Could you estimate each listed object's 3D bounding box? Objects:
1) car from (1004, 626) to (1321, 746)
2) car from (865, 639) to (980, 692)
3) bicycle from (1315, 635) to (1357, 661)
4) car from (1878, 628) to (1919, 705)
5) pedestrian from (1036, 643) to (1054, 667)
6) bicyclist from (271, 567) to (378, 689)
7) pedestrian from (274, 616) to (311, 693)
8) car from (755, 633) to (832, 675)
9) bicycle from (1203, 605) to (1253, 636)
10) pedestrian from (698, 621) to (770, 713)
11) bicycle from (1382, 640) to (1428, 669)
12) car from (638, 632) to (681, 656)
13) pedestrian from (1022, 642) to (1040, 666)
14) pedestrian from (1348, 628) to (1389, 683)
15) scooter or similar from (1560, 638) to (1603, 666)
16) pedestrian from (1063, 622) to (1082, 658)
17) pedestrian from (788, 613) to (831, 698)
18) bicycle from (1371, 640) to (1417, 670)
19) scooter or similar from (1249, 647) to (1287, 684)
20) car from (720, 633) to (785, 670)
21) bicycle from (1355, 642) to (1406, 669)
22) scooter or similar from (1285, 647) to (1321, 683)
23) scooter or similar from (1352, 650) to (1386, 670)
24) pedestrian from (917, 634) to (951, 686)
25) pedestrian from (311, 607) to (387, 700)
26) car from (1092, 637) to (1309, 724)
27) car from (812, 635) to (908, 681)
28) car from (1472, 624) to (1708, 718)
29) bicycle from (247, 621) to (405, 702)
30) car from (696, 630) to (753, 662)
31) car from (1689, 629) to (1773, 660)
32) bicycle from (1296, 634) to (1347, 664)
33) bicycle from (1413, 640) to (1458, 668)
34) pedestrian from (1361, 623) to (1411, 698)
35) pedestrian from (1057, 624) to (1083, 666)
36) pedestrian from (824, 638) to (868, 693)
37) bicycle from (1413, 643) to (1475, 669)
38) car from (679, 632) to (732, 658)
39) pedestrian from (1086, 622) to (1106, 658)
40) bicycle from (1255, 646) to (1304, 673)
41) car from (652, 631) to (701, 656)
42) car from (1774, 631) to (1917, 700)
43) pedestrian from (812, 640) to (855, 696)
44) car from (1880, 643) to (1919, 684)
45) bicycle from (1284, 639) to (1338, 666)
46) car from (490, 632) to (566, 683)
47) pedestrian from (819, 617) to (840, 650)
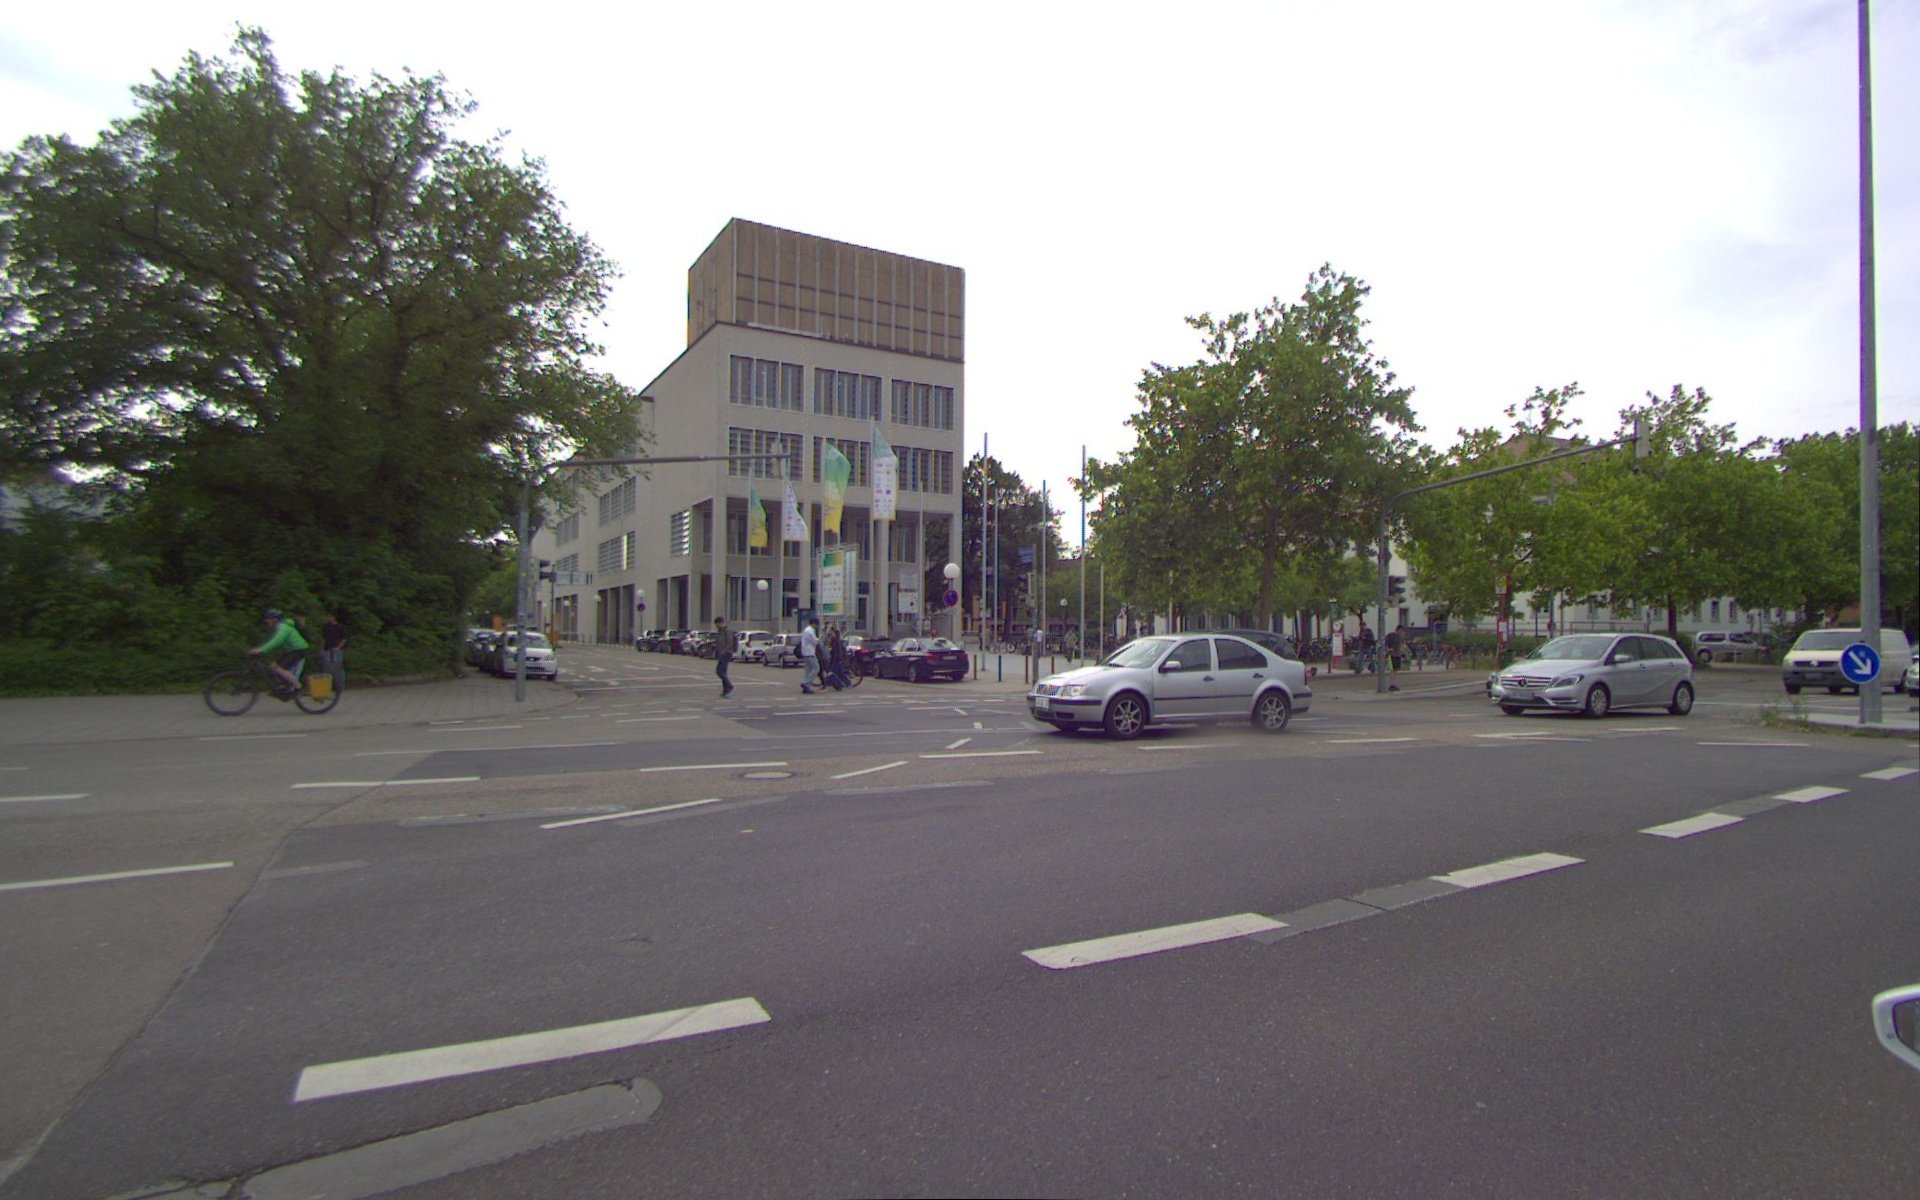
[{"bbox_3d":[2.964,1.186,14.744,4.214,1.549,1.989,1,-2,-24],"label":"car"},{"bbox_3d":[-1.318,2.123,33.416,1.979,1.491,4.117,2,0,-33],"label":"car"},{"bbox_3d":[23.584,2.988,63.091,0.906,1.579,3.082,1,-2,-12],"label":"bicycle"},{"bbox_3d":[27.198,1.805,27.490,3.953,2.040,1.984,2,-3,-30],"label":"car"},{"bbox_3d":[5.044,3.261,59.683,0.784,1.437,0.893,1,-2,-23],"label":"pedestrian"},{"bbox_3d":[-11.203,0.477,17.717,1.166,2.040,1.275,1,0,41],"label":"bicyclist"},{"bbox_3d":[-14.524,1.174,21.845,0.597,1.627,0.498,2,-1,-39],"label":"pedestrian"},{"bbox_3d":[-7.278,2.315,43.562,1.977,1.601,3.967,2,0,-31],"label":"car"},{"bbox_3d":[13.889,1.097,52.192,0.773,1.579,2.641,2,-2,-35],"label":"bicycle"},{"bbox_3d":[-5.272,1.539,23.462,1.166,2.040,1.136,1,0,41],"label":"pedestrian"},{"bbox_3d":[25.109,3.063,56.756,0.714,1.615,2.385,2,-2,-33],"label":"bicycle"},{"bbox_3d":[-19.313,2.792,64.451,1.936,1.475,3.655,2,-3,-29],"label":"car"},{"bbox_3d":[4.287,3.248,60.531,0.784,1.437,0.893,1,-2,-23],"label":"pedestrian"},{"bbox_3d":[13.817,1.869,33.995,0.926,1.827,0.890,2,-3,-33],"label":"pedestrian"},{"bbox_3d":[27.961,2.326,45.211,0.559,1.260,1.567,1,-2,-29],"label":"scooter or similar"},{"bbox_3d":[6.383,2.283,57.120,0.970,2.040,0.795,0,-2,-1],"label":"pedestrian"},{"bbox_3d":[-3.746,1.366,25.040,0.844,2.086,0.662,1,-1,-32],"label":"pedestrian"},{"bbox_3d":[24.191,3.035,56.041,0.714,1.615,2.385,2,-2,-33],"label":"bicycle"},{"bbox_3d":[9.834,2.086,32.062,1.304,1.155,0.358,2,-2,-30],"label":"scooter or similar"},{"bbox_3d":[-9.962,2.417,47.980,1.833,1.706,3.967,2,-2,-31],"label":"car"},{"bbox_3d":[18.991,2.506,45.429,2.007,1.168,0.717,-2,-3,43],"label":"bicycle"},{"bbox_3d":[11.228,2.126,32.852,1.304,1.155,0.358,2,-2,-30],"label":"scooter or similar"},{"bbox_3d":[15.000,2.194,36.829,1.273,0.703,0.405,2,0,-28],"label":"scooter or similar"},{"bbox_3d":[-1.045,2.398,40.403,1.005,2.040,0.998,1,-2,-30],"label":"pedestrian"},{"bbox_3d":[-13.982,1.200,22.993,1.022,2.040,1.098,1,0,29],"label":"pedestrian"},{"bbox_3d":[4.520,1.460,18.874,3.649,1.483,1.846,1,-2,-26],"label":"car"},{"bbox_3d":[-3.797,2.123,37.503,1.979,1.491,3.963,2,0,-33],"label":"car"},{"bbox_3d":[12.021,1.291,19.147,4.201,1.604,1.950,1,-3,-28],"label":"car"},{"bbox_3d":[-11.279,1.062,17.945,0.598,1.351,2.300,1,0,40],"label":"bicycle"},{"bbox_3d":[-12.297,2.381,52.207,1.866,1.573,3.970,1,-2,-29],"label":"car"},{"bbox_3d":[44.929,2.562,58.577,1.634,1.623,3.566,1,0,-32],"label":"car"},{"bbox_3d":[19.016,2.562,52.844,0.915,1.579,2.424,2,-2,-40],"label":"bicycle"},{"bbox_3d":[27.721,3.139,58.600,0.714,1.615,2.385,2,-2,-33],"label":"bicycle"},{"bbox_3d":[11.982,1.683,28.239,0.998,2.040,0.889,2,-2,-32],"label":"pedestrian"},{"bbox_3d":[5.424,2.211,49.324,0.784,2.040,1.091,-1,-3,43],"label":"pedestrian"},{"bbox_3d":[-3.160,1.801,27.849,0.990,1.447,0.694,1,0,-33],"label":"pedestrian"},{"bbox_3d":[23.257,2.662,48.308,0.714,1.190,2.730,2,-2,-33],"label":"bicycle"},{"bbox_3d":[-14.411,2.523,56.717,1.984,1.379,3.970,1,-2,-29],"label":"car"},{"bbox_3d":[7.891,2.335,58.185,0.784,2.040,0.893,1,-2,-23],"label":"pedestrian"},{"bbox_3d":[16.034,2.966,50.475,0.714,1.286,2.520,2,-2,-33],"label":"bicycle"},{"bbox_3d":[-17.069,2.605,60.385,1.971,1.415,3.872,1,-3,-29],"label":"car"},{"bbox_3d":[26.364,1.903,29.868,4.433,1.872,1.764,2,0,-28],"label":"car"},{"bbox_3d":[-3.594,1.922,28.569,0.964,1.533,0.818,1,-2,-31],"label":"pedestrian"},{"bbox_3d":[40.776,2.658,42.154,4.536,1.629,1.851,2,0,-29],"label":"car"},{"bbox_3d":[18.181,2.711,52.089,0.714,1.347,2.802,2,-2,-33],"label":"bicycle"},{"bbox_3d":[-14.081,1.835,32.648,1.841,1.469,3.568,1,-1,-30],"label":"car"},{"bbox_3d":[-8.147,2.107,62.868,0.784,2.040,1.032,-1,-3,43],"label":"pedestrian"}]
